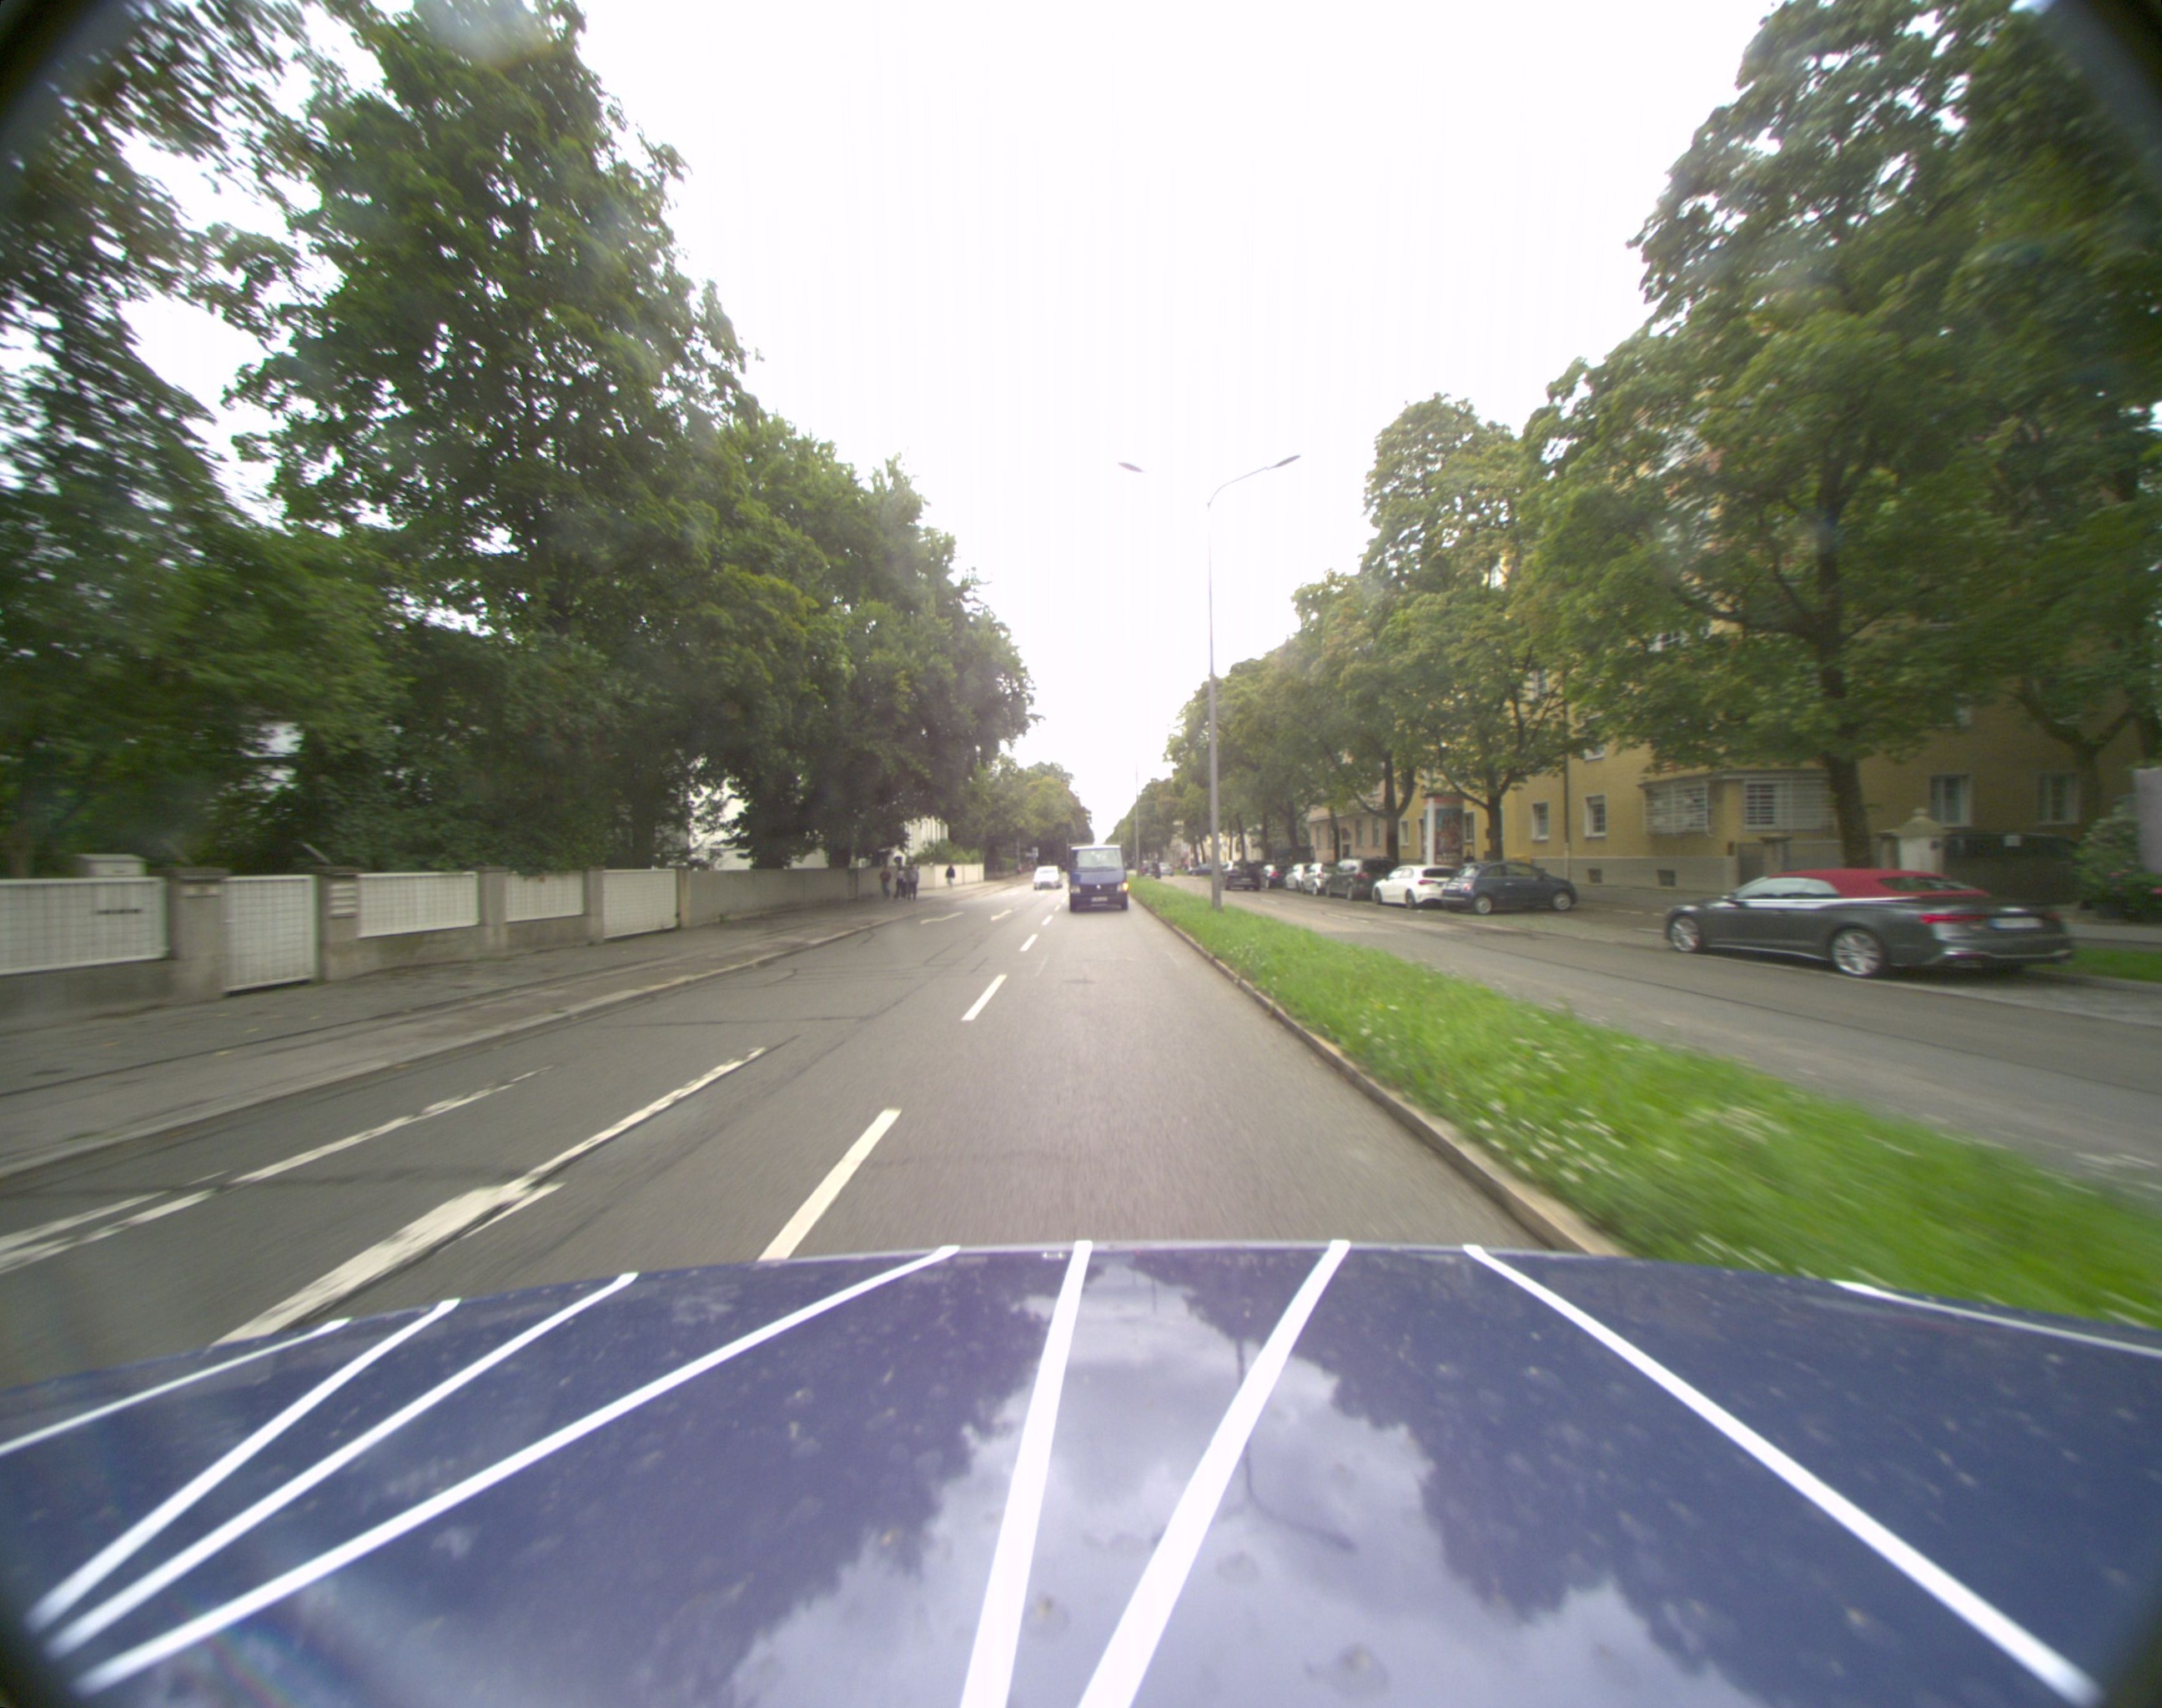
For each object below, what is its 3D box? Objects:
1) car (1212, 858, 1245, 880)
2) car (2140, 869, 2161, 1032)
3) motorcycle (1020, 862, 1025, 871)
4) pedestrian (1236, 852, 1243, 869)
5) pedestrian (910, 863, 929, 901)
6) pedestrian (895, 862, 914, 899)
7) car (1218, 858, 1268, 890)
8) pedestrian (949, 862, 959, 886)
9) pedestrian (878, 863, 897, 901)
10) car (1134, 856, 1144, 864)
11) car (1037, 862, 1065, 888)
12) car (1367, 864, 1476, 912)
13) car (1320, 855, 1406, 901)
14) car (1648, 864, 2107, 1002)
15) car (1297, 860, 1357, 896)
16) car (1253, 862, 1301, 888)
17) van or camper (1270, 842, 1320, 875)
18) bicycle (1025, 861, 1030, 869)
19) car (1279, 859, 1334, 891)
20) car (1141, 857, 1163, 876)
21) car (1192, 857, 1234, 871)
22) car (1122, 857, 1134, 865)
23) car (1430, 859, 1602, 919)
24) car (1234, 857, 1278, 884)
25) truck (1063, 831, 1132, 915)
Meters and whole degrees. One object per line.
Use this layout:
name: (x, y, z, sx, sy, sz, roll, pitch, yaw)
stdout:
car: (11.857, 1.161, 61.325, 1.878, 1.677, 4.439, -1, 0, 1)
car: (10.835, 0.867, 5.150, 1.815, 1.498, 3.960, -1, 0, 1)
motorcycle: (-7.832, 1.680, 102.170, 0.497, 1.135, 1.631, -1, 0, -9)
pedestrian: (19.136, 0.744, 91.760, 0.599, 2.047, 0.685, -1, 0, 21)
pedestrian: (-7.355, 1.258, 34.641, 0.668, 1.712, 0.729, 1, 0, 0)
pedestrian: (-8.046, 1.198, 34.639, 0.668, 1.683, 0.729, 1, 0, 0)
car: (8.688, 1.041, 41.073, 1.879, 1.575, 4.621, 1, 0, 3)
pedestrian: (-8.390, 1.312, 50.166, 0.529, 1.572, 0.729, 1, 0, 0)
pedestrian: (-8.820, 1.255, 34.680, 0.668, 1.695, 0.766, 1, 0, 0)
car: (13.178, 1.419, 172.292, 1.872, 1.827, 4.000, -1, 0, 1)
car: (-1.945, 1.338, 49.673, 1.647, 1.553, 3.586, -1, 0, 0)
car: (11.174, 1.068, 25.283, 1.731, 1.394, 4.404, -1, 0, 1)
car: (11.355, 0.917, 30.984, 1.815, 1.717, 4.768, -1, 0, 1)
car: (10.790, 0.931, 10.965, 1.815, 1.498, 4.646, -1, 0, 1)
car: (11.430, 1.088, 35.483, 1.731, 1.548, 3.010, -1, 0, -1)
car: (11.378, 1.179, 44.318, 1.731, 1.397, 4.363, -1, 0, 1)
van or camper: (17.862, 0.343, 63.910, 2.351, 2.564, 6.852, -1, 0, 1)
bicycle: (-7.752, 1.571, 109.699, 0.490, 1.092, 1.631, -1, 0, -9)
car: (11.716, 1.048, 39.708, 1.731, 1.552, 4.057, -1, 0, 1)
car: (6.650, 1.156, 71.376, 1.774, 1.669, 4.369, 0, 0, 1)
car: (13.989, 1.108, 80.357, 3.990, 1.367, 1.865, -2, -1, 27)
car: (8.506, 1.239, 137.634, 1.815, 1.498, 4.323, 1, 0, 1)
car: (12.374, 0.963, 21.779, 3.899, 1.455, 1.732, -3, 0, 0)
car: (11.508, 1.065, 50.377, 1.883, 1.635, 4.770, -1, 0, 1)
truck: (0.565, 0.585, 25.184, 1.998, 2.475, 5.151, -1, 0, 1)
